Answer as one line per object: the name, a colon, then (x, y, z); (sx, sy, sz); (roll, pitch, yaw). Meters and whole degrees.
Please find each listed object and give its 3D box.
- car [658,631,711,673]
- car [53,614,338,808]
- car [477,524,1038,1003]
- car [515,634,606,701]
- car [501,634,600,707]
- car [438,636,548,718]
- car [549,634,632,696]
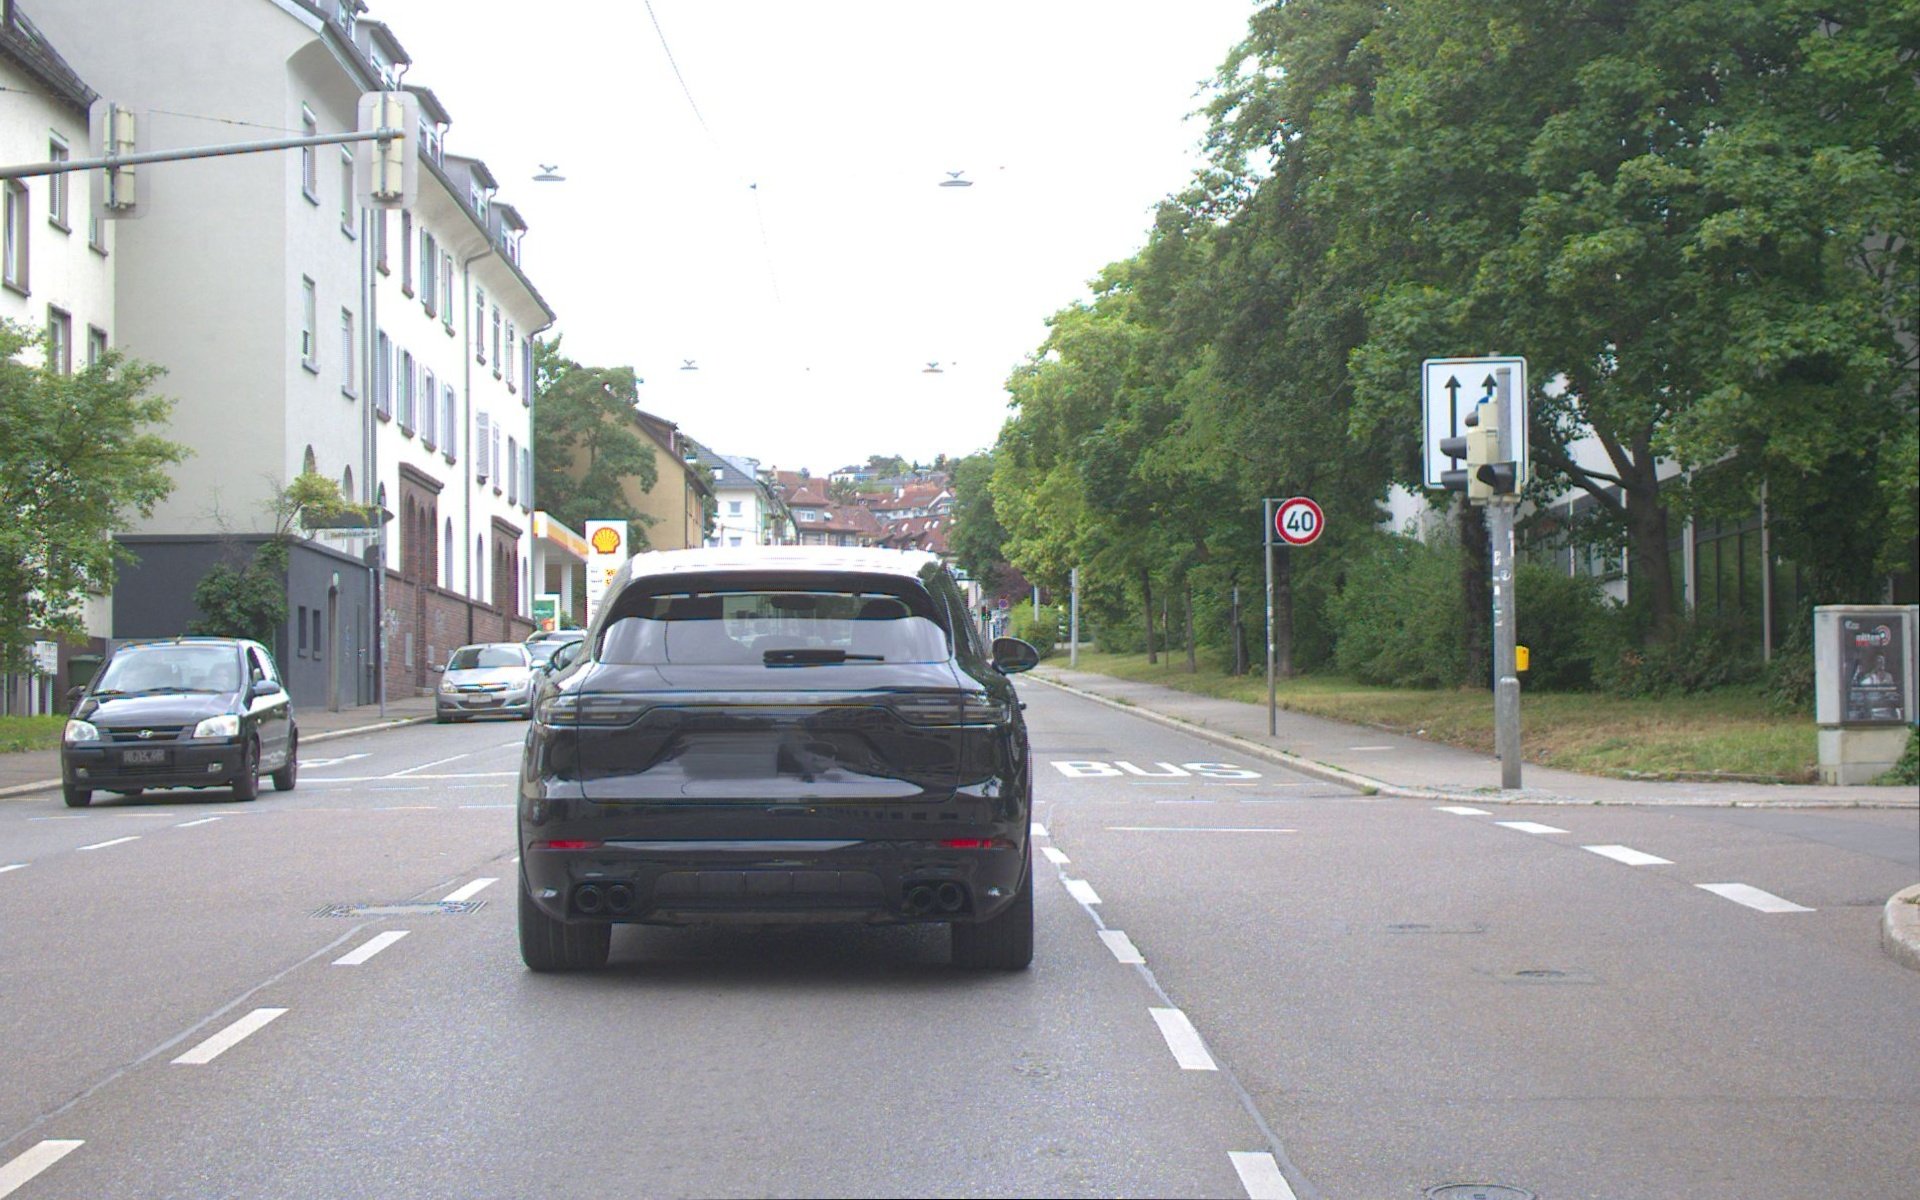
car: (-9.443, 1.783, 118.171); (1.670, 1.357, 4.000); (0, 0, -2)
car: (-6.859, 0.955, 31.203); (1.664, 1.514, 3.739); (-3, 0, 0)
car: (-0.753, 0.576, 14.389); (1.993, 1.691, 4.000); (1, 0, -1)
car: (-8.725, 1.468, 75.298); (1.670, 1.357, 4.000); (0, 0, -2)
car: (-8.222, 1.408, 69.306); (1.670, 1.357, 4.000); (0, 0, -2)
car: (-8.343, 1.352, 61.669); (1.669, 1.357, 4.001); (0, 0, -3)
car: (-8.600, 1.502, 80.331); (1.670, 1.357, 4.000); (0, 0, -2)
